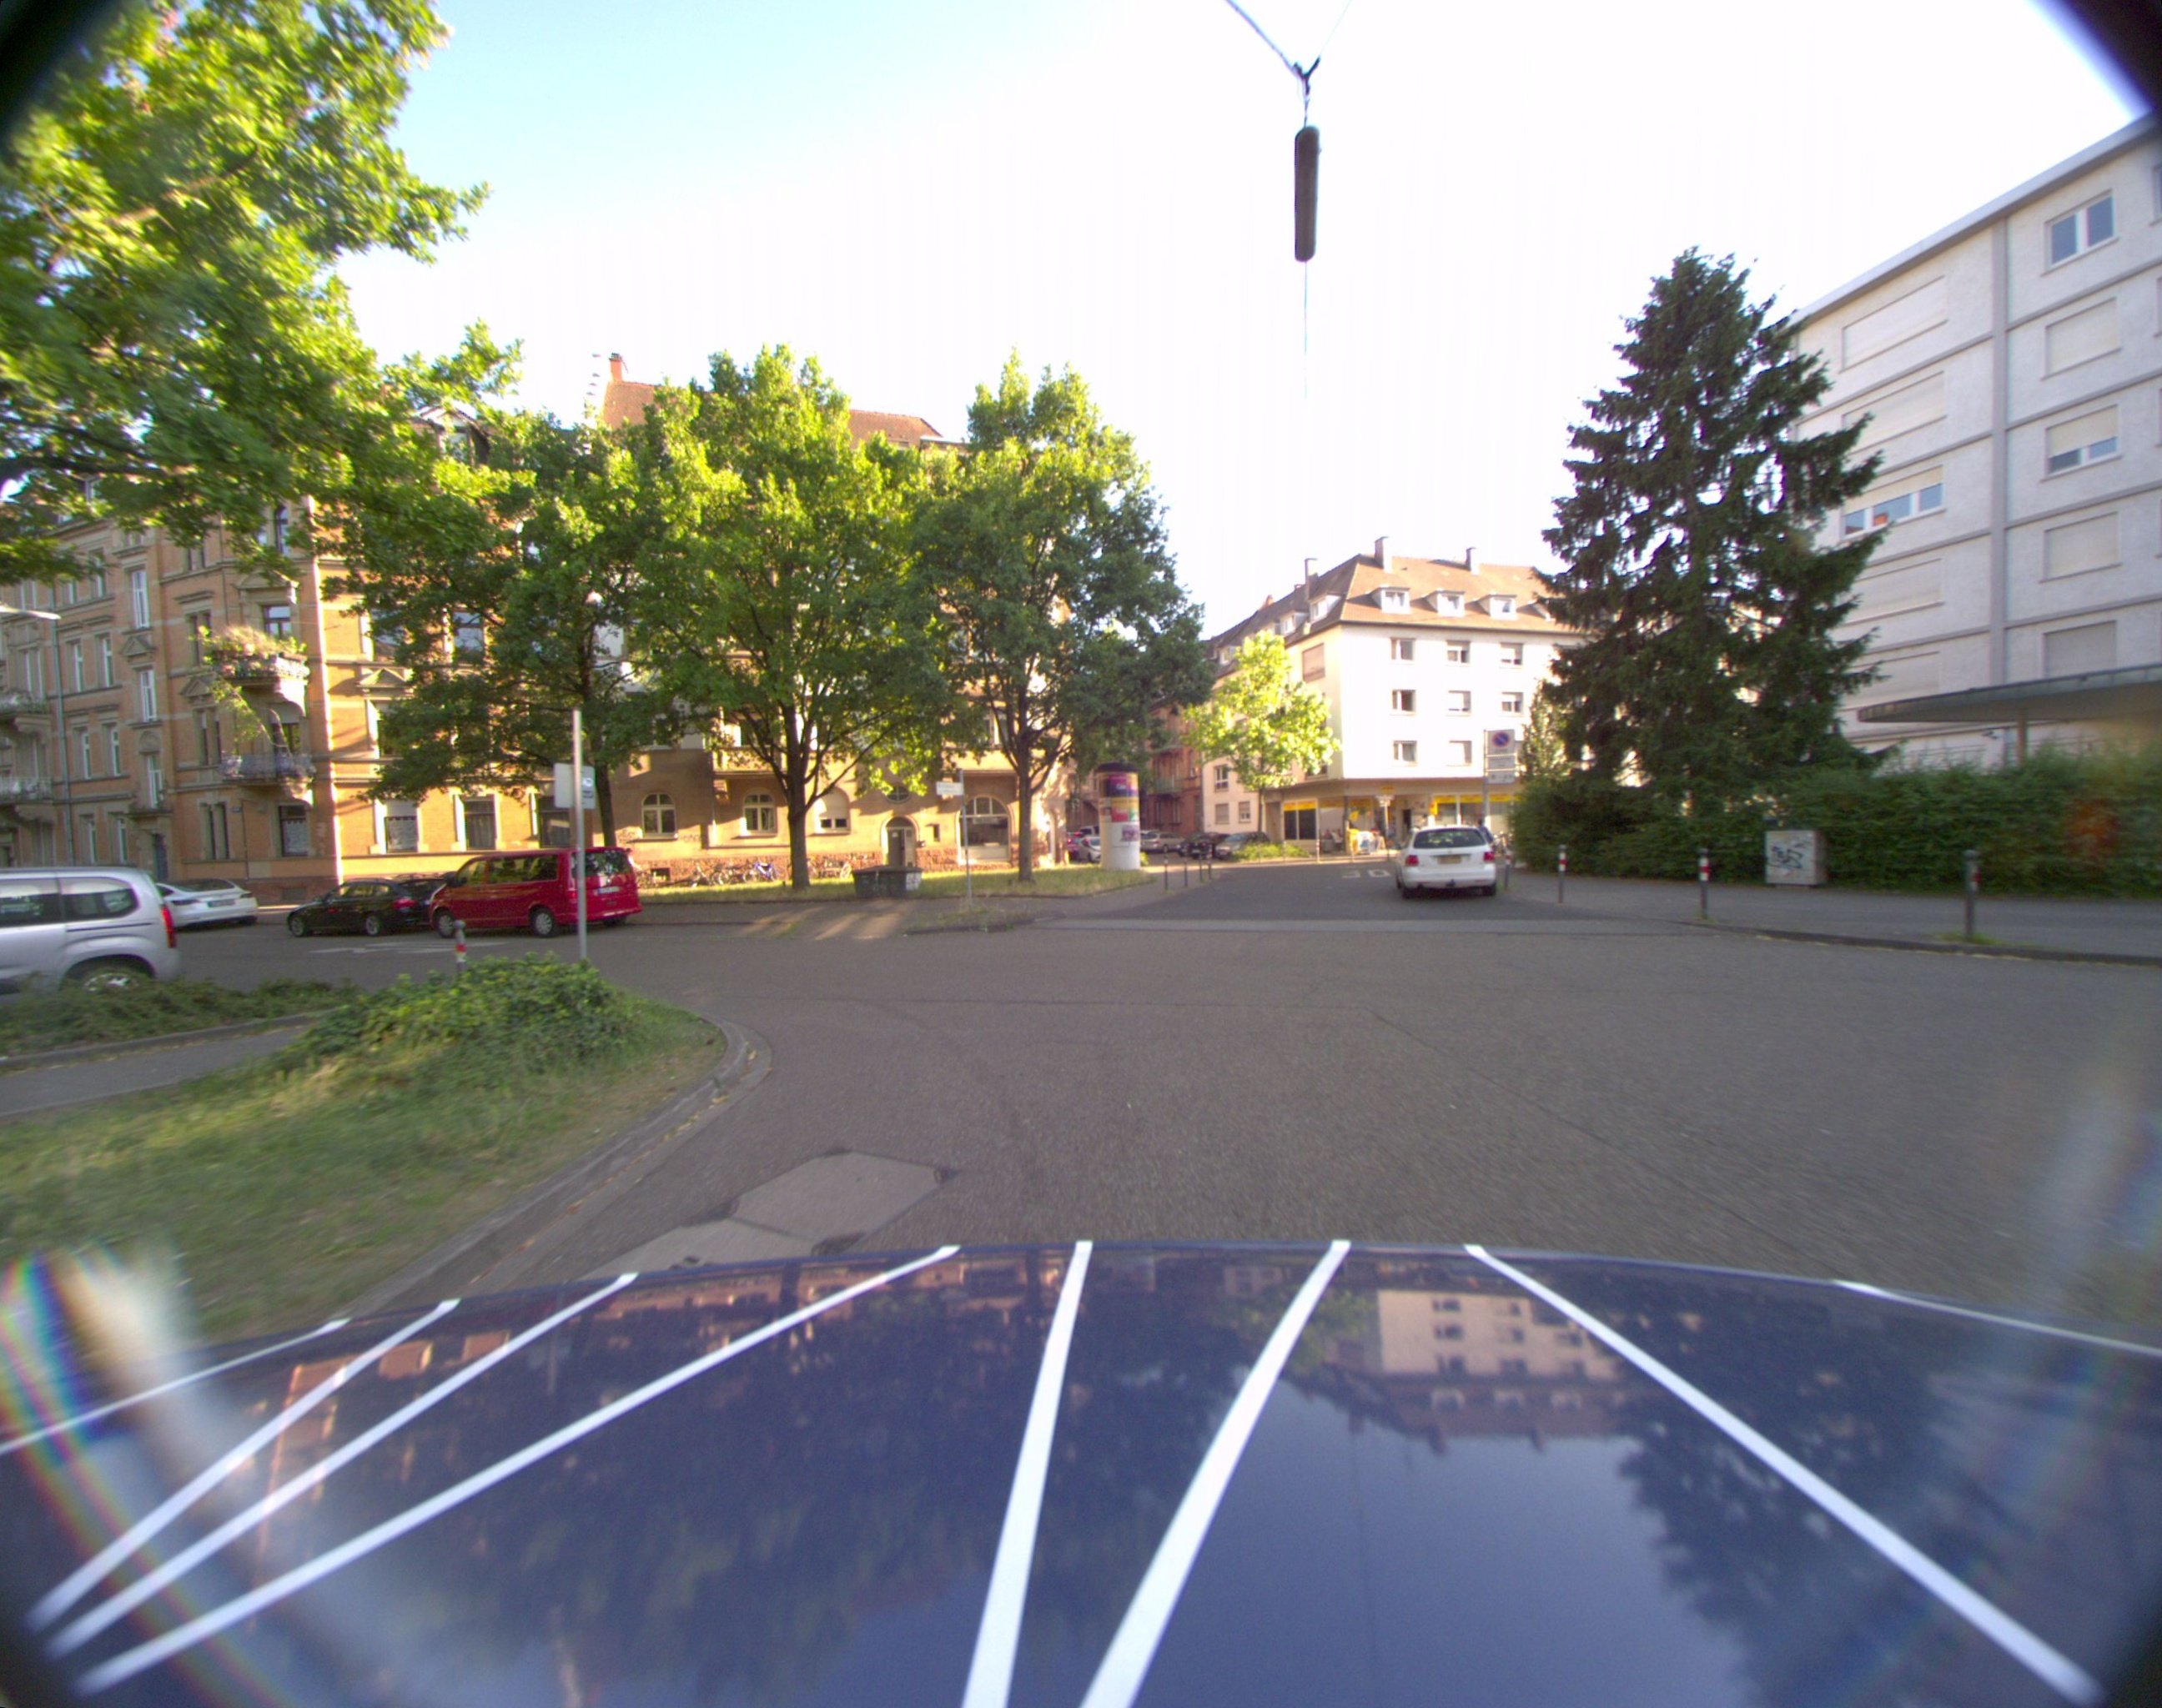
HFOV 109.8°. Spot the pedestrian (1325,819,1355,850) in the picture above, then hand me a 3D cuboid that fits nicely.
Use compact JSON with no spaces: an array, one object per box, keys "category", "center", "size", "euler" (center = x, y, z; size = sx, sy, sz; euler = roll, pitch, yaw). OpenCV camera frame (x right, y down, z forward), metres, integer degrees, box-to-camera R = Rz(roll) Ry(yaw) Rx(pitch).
[{"category":"pedestrian","center":[14.394,-1.091,42.251],"size":[1.216,1.657,0.962],"euler":[-3,2,-15]}]

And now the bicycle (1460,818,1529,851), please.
[{"category":"bicycle","center":[19.657,-0.982,36.255],"size":[0.881,1.438,3.374],"euler":[-3,4,-13]}]

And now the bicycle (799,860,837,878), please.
[{"category":"bicycle","center":[-11.353,0.645,32.845],"size":[1.511,0.728,0.368],"euler":[-3,3,-17]}]

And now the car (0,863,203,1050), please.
[{"category":"car","center":[-12.630,1.161,7.592],"size":[1.945,1.904,4.558],"euler":[0,2,21]}]

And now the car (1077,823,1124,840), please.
[{"category":"car","center":[1.738,-2.025,67.836],"size":[4.007,1.392,1.868],"euler":[-4,3,-45]}]

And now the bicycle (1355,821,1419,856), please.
[{"category":"bicycle","center":[13.735,-0.735,34.237],"size":[0.881,1.437,3.374],"euler":[-3,3,-13]}]

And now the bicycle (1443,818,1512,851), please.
[{"category":"bicycle","center":[18.753,-0.951,36.070],"size":[0.881,1.438,3.374],"euler":[-3,4,-13]}]

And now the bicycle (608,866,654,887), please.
[{"category":"bicycle","center":[-18.161,0.911,30.699],"size":[1.511,0.728,0.368],"euler":[-3,3,-17]}]

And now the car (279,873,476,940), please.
[{"category":"car","center":[-18.008,1.321,19.476],"size":[4.261,1.426,1.783],"euler":[-2,4,19]}]

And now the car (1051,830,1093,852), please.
[{"category":"car","center":[-0.807,-1.087,61.758],"size":[1.944,1.638,4.525],"euler":[-3,2,-20]}]

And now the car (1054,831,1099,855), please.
[{"category":"car","center":[-0.350,-0.717,47.789],"size":[1.874,1.392,3.994],"euler":[-3,2,-14]}]

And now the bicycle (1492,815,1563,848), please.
[{"category":"bicycle","center":[21.499,-1.126,36.738],"size":[0.881,1.438,3.374],"euler":[-3,4,-13]}]

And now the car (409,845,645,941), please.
[{"category":"car","center":[-12.807,0.886,17.618],"size":[4.762,1.924,1.783],"euler":[-2,4,18]}]

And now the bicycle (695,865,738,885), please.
[{"category":"bicycle","center":[-14.905,0.849,31.128],"size":[1.511,0.728,0.368],"euler":[-3,3,-17]}]

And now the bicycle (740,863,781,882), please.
[{"category":"bicycle","center":[-13.469,0.773,31.971],"size":[1.511,0.728,0.368],"euler":[-3,3,-17]}]

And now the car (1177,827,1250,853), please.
[{"category":"car","center":[7.886,-0.837,45.064],"size":[4.006,1.392,1.868],"euler":[-3,2,-33]}]

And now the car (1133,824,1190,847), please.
[{"category":"car","center":[5.762,-1.323,54.058],"size":[4.007,1.497,1.868],"euler":[-4,3,-45]}]

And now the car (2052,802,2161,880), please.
[{"category":"car","center":[22.689,-0.280,14.916],"size":[2.000,1.524,3.994],"euler":[-2,2,-12]}]

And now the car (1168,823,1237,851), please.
[{"category":"car","center":[7.753,-1.091,48.374],"size":[4.005,1.560,1.869],"euler":[-3,2,-30]}]

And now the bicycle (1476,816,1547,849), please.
[{"category":"bicycle","center":[20.586,-1.061,36.462],"size":[0.881,1.438,3.374],"euler":[-3,4,-13]}]

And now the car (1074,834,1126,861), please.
[{"category":"car","center":[1.004,-0.382,42.996],"size":[1.874,1.392,3.994],"euler":[-3,2,-14]}]

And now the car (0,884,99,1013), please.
[{"category":"car","center":[-15.134,1.303,8.544],"size":[1.945,1.564,4.558],"euler":[0,2,21]}]

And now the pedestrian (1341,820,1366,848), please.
[{"category":"pedestrian","center":[15.447,-1.144,43.077],"size":[0.964,1.560,0.890],"euler":[-3,2,-14]}]

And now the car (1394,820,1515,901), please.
[{"category":"car","center":[7.774,0.056,16.197],"size":[1.919,1.442,4.301],"euler":[-2,2,21]}]

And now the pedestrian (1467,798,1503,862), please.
[{"category":"pedestrian","center":[13.051,-0.775,24.563],"size":[0.861,2.002,0.987],"euler":[-1,2,18]}]

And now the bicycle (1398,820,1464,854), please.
[{"category":"bicycle","center":[16.055,-0.822,34.979],"size":[0.881,1.437,3.374],"euler":[-3,3,-13]}]

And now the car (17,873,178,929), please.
[{"category":"car","center":[-30.912,1.463,23.901],"size":[3.874,1.468,1.690],"euler":[-2,4,17]}]

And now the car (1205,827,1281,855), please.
[{"category":"car","center":[9.155,-0.752,42.944],"size":[4.006,1.392,1.868],"euler":[-3,2,-33]}]

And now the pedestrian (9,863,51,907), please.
[{"category":"pedestrian","center":[-43.021,1.259,31.098],"size":[0.720,1.709,0.676],"euler":[-1,5,19]}]

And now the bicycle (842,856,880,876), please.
[{"category":"bicycle","center":[-9.630,0.511,33.250],"size":[1.511,0.728,0.368],"euler":[-4,3,-17]}]

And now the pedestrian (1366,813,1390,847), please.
[{"category":"pedestrian","center":[16.755,-1.364,42.824],"size":[0.891,1.864,0.850],"euler":[-3,2,-16]}]

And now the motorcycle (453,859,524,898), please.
[{"category":"motorcycle","center":[-22.745,0.909,29.205],"size":[1.900,1.345,0.809],"euler":[-4,2,-17]}]

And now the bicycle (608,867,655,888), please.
[{"category":"bicycle","center":[-17.947,0.920,30.337],"size":[1.511,0.728,0.414],"euler":[-3,2,-17]}]

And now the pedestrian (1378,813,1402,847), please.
[{"category":"pedestrian","center":[17.091,-1.324,42.053],"size":[0.891,1.864,0.850],"euler":[-3,2,-16]}]

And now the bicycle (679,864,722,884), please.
[{"category":"bicycle","center":[-15.668,0.826,31.296],"size":[1.511,0.728,0.368],"euler":[-3,3,-17]}]

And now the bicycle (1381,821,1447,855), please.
[{"category":"bicycle","center":[15.054,-0.770,34.497],"size":[0.881,1.437,3.374],"euler":[-3,3,-13]}]

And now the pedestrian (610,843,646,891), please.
[{"category":"pedestrian","center":[-17.044,0.481,28.594],"size":[0.912,1.708,0.674],"euler":[-4,3,-19]}]

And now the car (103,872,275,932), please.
[{"category":"car","center":[-26.060,1.390,22.216],"size":[4.261,1.468,1.783],"euler":[-2,4,21]}]

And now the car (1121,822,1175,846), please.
[{"category":"car","center":[5.076,-1.535,57.175],"size":[4.007,1.627,1.868],"euler":[-4,3,-45]}]

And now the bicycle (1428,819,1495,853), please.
[{"category":"bicycle","center":[17.902,-0.894,35.910],"size":[0.881,1.438,3.374],"euler":[-3,4,-13]}]
